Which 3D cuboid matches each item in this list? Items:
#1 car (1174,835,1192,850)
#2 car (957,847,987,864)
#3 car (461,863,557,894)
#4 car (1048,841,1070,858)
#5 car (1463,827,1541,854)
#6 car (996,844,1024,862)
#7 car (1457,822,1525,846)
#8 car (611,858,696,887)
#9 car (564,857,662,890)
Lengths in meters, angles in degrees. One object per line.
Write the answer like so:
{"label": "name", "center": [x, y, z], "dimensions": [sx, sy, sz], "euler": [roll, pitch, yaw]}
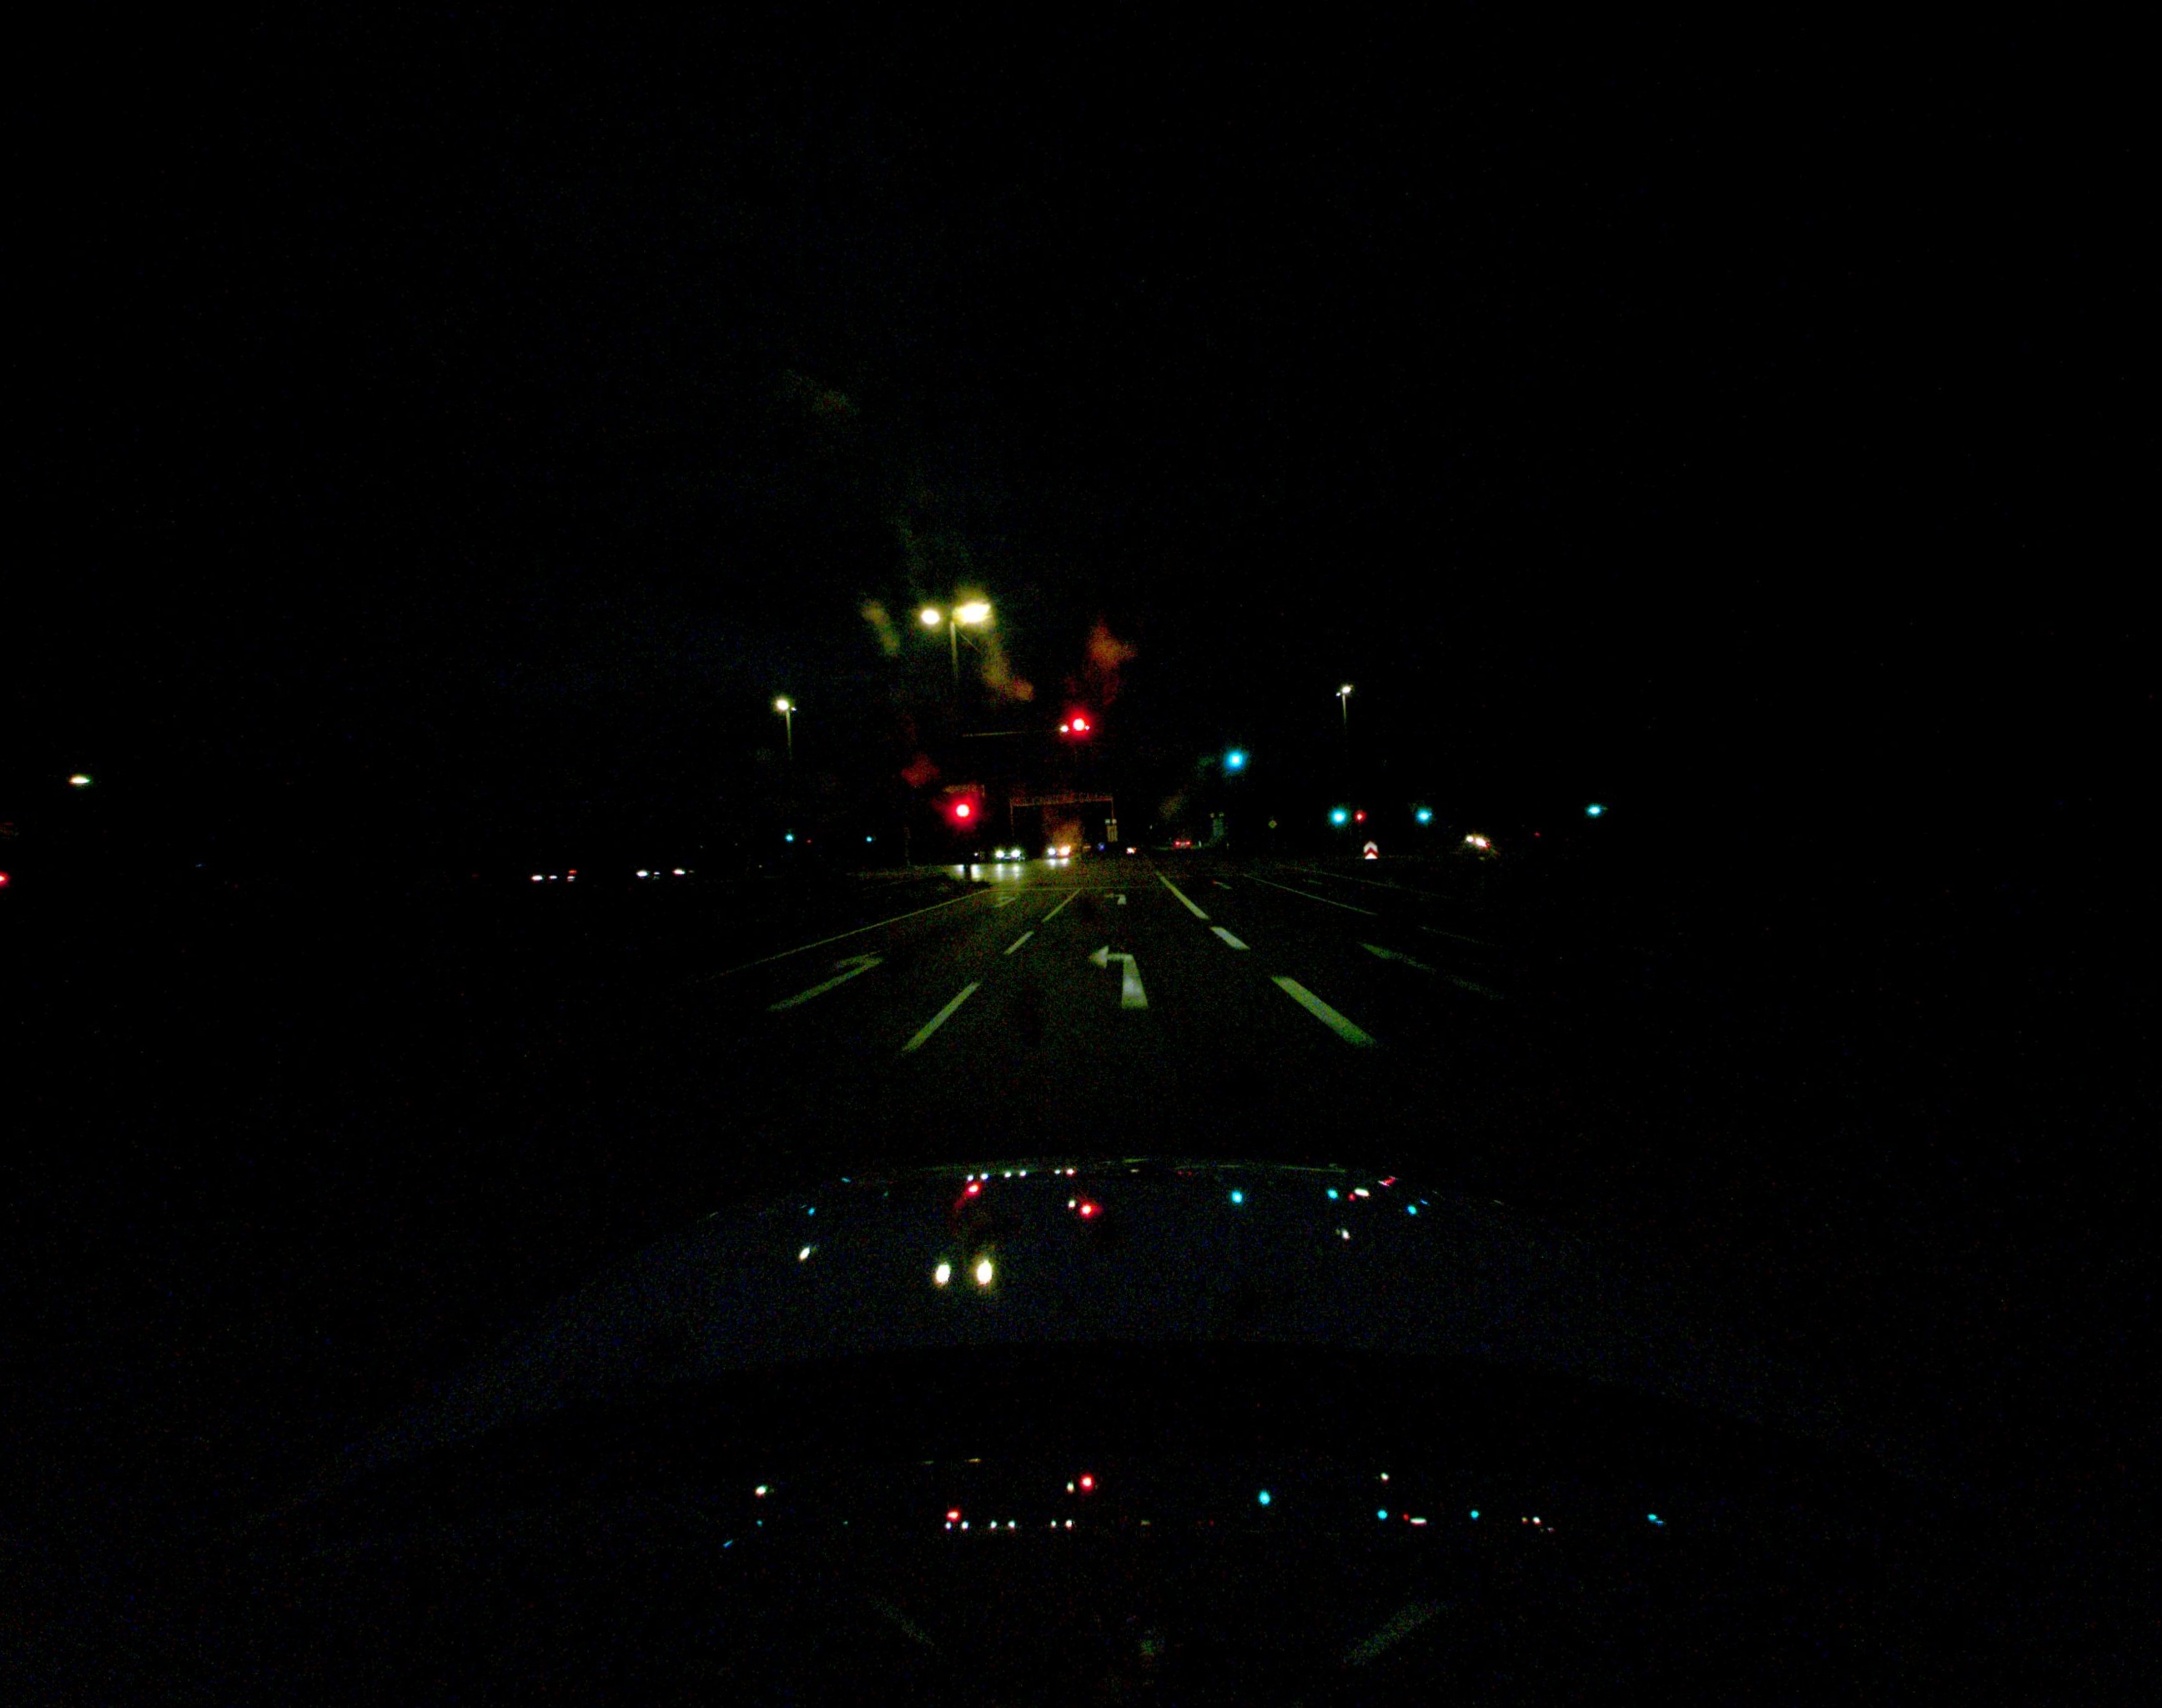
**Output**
{"label": "car", "center": [12.123, -1.381, 97.360], "dimensions": [1.998, 1.611, 3.851], "euler": [-2, 1, 5]}
{"label": "car", "center": [-10.081, 0.086, 75.473], "dimensions": [1.986, 1.425, 4.535], "euler": [-2, 1, 2]}
{"label": "car", "center": [-31.811, 1.354, 45.372], "dimensions": [3.978, 1.473, 1.728], "euler": [-3, 0, -3]}
{"label": "car", "center": [-2.280, -0.489, 84.627], "dimensions": [1.986, 1.698, 4.003], "euler": [-2, 1, 2]}
{"label": "car", "center": [27.318, -0.892, 52.940], "dimensions": [4.060, 1.569, 2.002], "euler": [-2, 1, 0]}
{"label": "car", "center": [-6.540, -0.136, 75.339], "dimensions": [1.986, 1.481, 4.685], "euler": [-2, 1, 2]}
{"label": "car", "center": [29.956, -1.477, 59.608], "dimensions": [3.974, 1.569, 1.900], "euler": [-3, 1, 0]}
{"label": "car", "center": [-25.262, 1.077, 48.257], "dimensions": [4.027, 1.537, 1.729], "euler": [-3, 0, 0]}
{"label": "car", "center": [-25.706, 1.047, 44.806], "dimensions": [4.297, 1.537, 1.730], "euler": [-3, 0, 1]}
